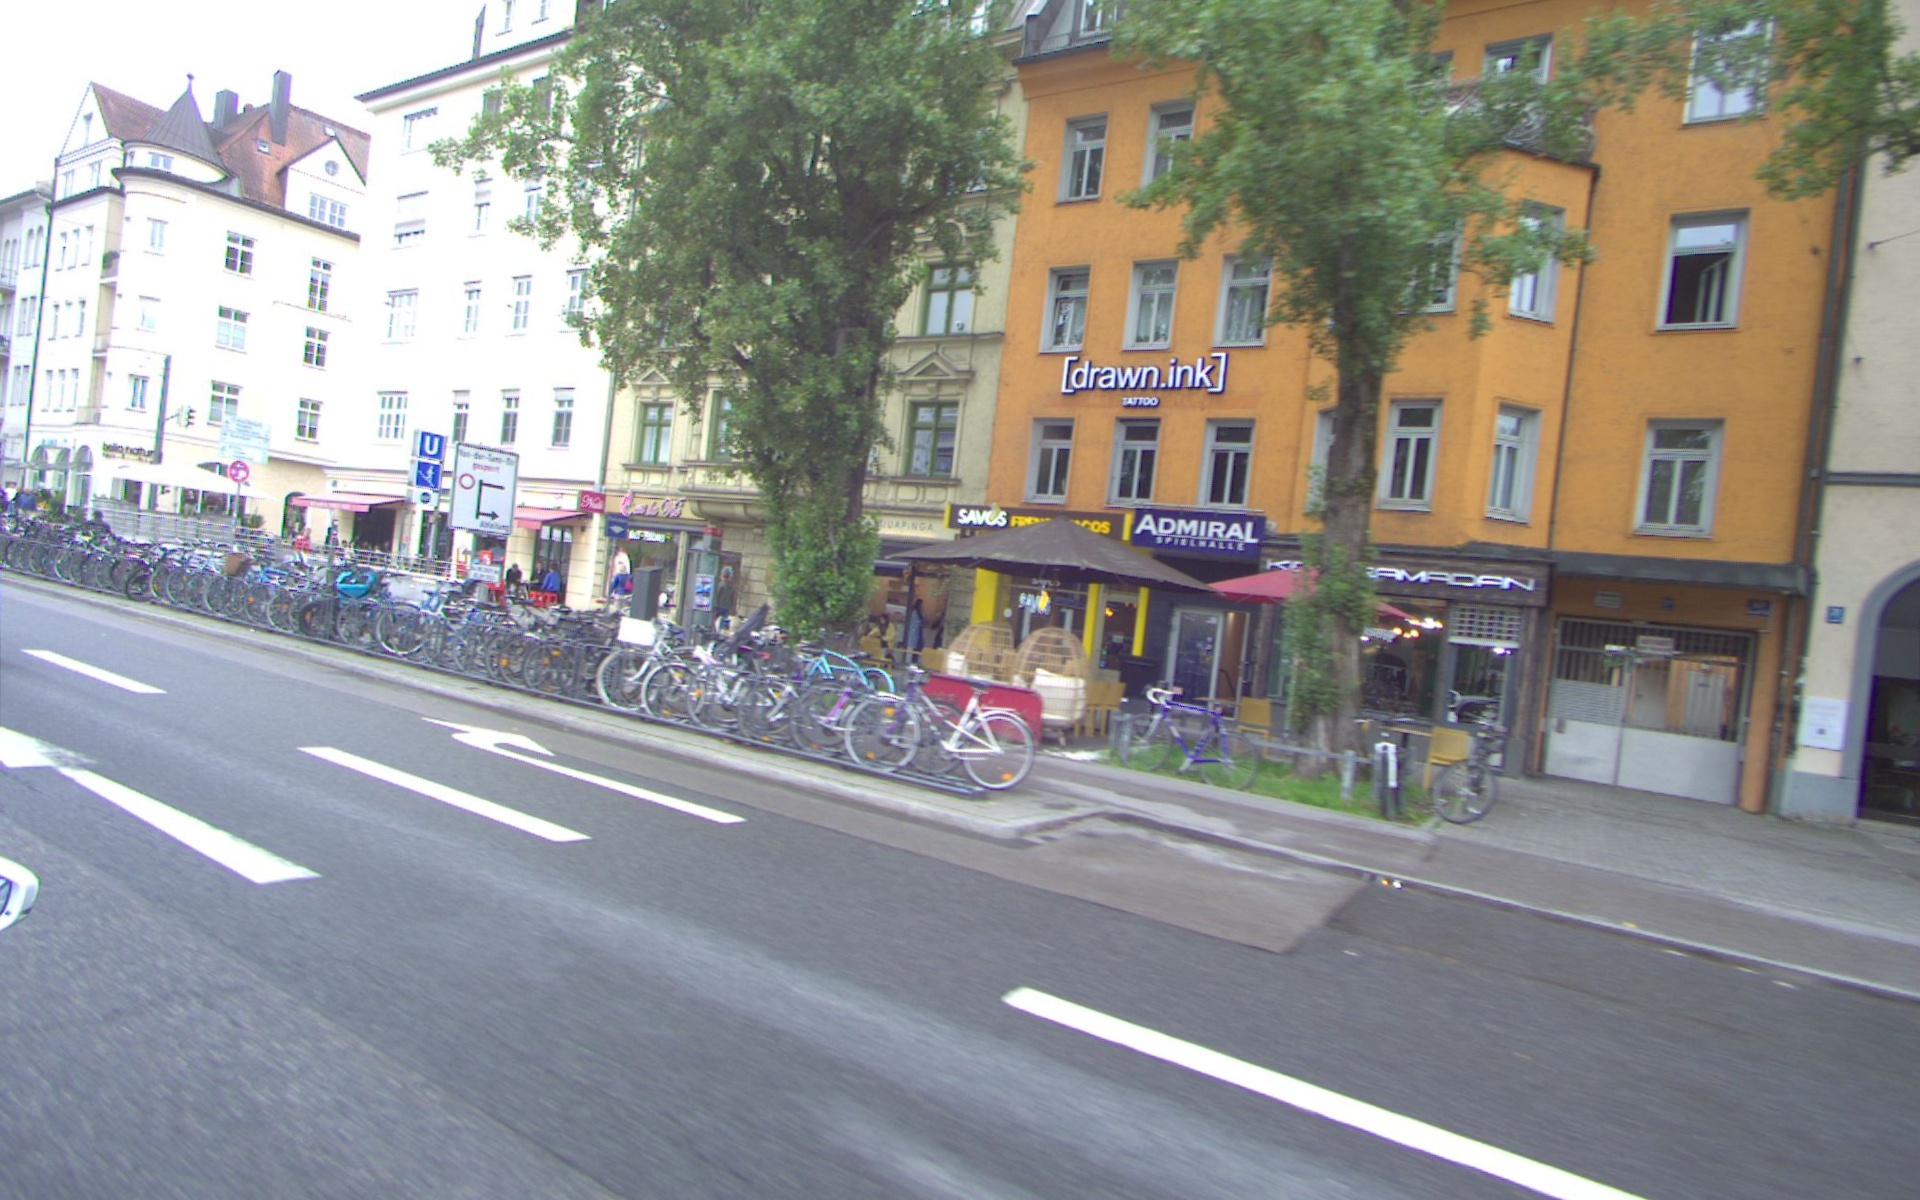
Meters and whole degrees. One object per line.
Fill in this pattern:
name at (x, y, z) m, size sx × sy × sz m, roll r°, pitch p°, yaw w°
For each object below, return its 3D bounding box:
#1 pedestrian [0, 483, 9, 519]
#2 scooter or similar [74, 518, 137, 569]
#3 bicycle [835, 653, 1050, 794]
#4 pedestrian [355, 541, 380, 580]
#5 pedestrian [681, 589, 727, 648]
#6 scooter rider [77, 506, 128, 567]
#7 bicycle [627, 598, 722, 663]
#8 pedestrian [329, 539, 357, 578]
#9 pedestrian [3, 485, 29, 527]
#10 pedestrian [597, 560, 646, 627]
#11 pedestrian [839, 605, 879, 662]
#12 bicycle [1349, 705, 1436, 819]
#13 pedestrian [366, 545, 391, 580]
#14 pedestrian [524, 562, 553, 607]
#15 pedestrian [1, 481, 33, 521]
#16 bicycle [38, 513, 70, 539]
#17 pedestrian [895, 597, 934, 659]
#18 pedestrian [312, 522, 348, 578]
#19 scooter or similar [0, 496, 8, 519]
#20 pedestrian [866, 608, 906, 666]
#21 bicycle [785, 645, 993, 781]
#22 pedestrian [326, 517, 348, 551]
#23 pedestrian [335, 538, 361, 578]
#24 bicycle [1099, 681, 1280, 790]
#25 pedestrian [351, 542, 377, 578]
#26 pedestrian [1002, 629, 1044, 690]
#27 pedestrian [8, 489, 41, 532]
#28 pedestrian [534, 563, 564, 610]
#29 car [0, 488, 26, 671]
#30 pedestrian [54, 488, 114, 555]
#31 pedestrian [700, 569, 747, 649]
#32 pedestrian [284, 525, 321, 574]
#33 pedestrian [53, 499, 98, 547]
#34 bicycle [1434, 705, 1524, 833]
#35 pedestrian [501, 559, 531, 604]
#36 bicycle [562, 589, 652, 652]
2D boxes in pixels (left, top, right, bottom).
pedestrian at (-44.689, -4.629, 46.792) m, size 0.559 × 1.631 × 0.560 m, roll 6°, pitch 4°, yaw -45°
scooter or similar at (-21.287, -1.412, 25.061) m, size 1.235 × 1.088 × 0.776 m, roll 7°, pitch 1°, yaw 30°
bicycle at (-0.166, 1.123, 9.165) m, size 1.811 × 1.008 × 0.375 m, roll 8°, pitch 1°, yaw -8°
pedestrian at (-21.452, -1.418, 36.414) m, size 0.518 × 1.315 × 0.479 m, roll 7°, pitch 1°, yaw 30°
pedestrian at (-5.792, 0.414, 22.747) m, size 0.655 × 1.237 × 0.601 m, roll 7°, pitch 1°, yaw 32°
scooter rider at (-21.363, -1.585, 25.065) m, size 0.632 × 1.406 × 0.701 m, roll 7°, pitch 1°, yaw 30°
bicycle at (-5.473, 0.600, 19.370) m, size 0.382 × 1.058 × 1.720 m, roll 9°, pitch 0°, yaw 42°
pedestrian at (-22.576, -1.515, 36.822) m, size 0.691 × 1.308 × 0.515 m, roll 7°, pitch 1°, yaw 30°
pedestrian at (-43.589, -4.341, 46.455) m, size 0.645 × 1.774 × 0.630 m, roll 7°, pitch 4°, yaw -35°
pedestrian at (-8.838, -0.164, 26.271) m, size 0.773 × 1.653 × 0.711 m, roll 7°, pitch 1°, yaw 32°
pedestrian at (-2.427, 0.804, 24.207) m, size 0.573 × 1.296 × 0.584 m, roll 7°, pitch 1°, yaw 31°
bicycle at (4.772, 1.721, 11.035) m, size 0.451 × 1.067 × 1.889 m, roll 7°, pitch 0°, yaw 33°
pedestrian at (-20.685, -1.335, 35.765) m, size 0.518 × 1.180 × 0.479 m, roll 7°, pitch 1°, yaw 30°
pedestrian at (-13.113, -0.477, 31.307) m, size 0.543 × 1.305 × 0.495 m, roll 7°, pitch 1°, yaw 32°
pedestrian at (-44.129, -4.627, 47.097) m, size 0.720 × 1.728 × 0.645 m, roll 9°, pitch 3°, yaw 3°
bicycle at (-45.982, -3.751, 51.038) m, size 1.833 × 1.103 × 0.495 m, roll 7°, pitch 1°, yaw 26°
pedestrian at (-1.162, 0.722, 25.564) m, size 0.574 × 1.493 × 0.625 m, roll 7°, pitch 1°, yaw 34°
pedestrian at (-19.925, -1.571, 31.827) m, size 0.666 × 1.653 × 0.615 m, roll 7°, pitch 1°, yaw 32°
scooter or similar at (-44.180, -4.267, 45.998) m, size 0.815 × 1.007 × 0.587 m, roll 7°, pitch 3°, yaw -36°
pedestrian at (-1.743, 0.884, 23.753) m, size 0.573 × 1.296 × 0.584 m, roll 7°, pitch 1°, yaw 31°
bicycle at (-0.672, 1.066, 9.541) m, size 1.811 × 1.008 × 0.375 m, roll 8°, pitch 1°, yaw -8°
pedestrian at (-34.169, -3.604, 55.202) m, size 0.736 × 1.728 × 0.679 m, roll 11°, pitch 4°, yaw 41°
pedestrian at (-21.764, -1.489, 35.775) m, size 0.518 × 1.315 × 0.479 m, roll 7°, pitch 1°, yaw 30°
bicycle at (2.574, 1.498, 11.376) m, size 1.862 × 0.903 × 0.457 m, roll 7°, pitch 0°, yaw 31°
pedestrian at (-20.900, -1.385, 35.277) m, size 0.518 × 1.180 × 0.479 m, roll 7°, pitch 1°, yaw 30°
pedestrian at (1.376, 1.299, 21.957) m, size 0.573 × 1.233 × 0.623 m, roll 7°, pitch 1°, yaw 31°
pedestrian at (-41.924, -4.005, 45.070) m, size 1.051 × 1.777 × 0.931 m, roll 7°, pitch 1°, yaw 45°
pedestrian at (-12.521, -0.418, 30.647) m, size 0.543 × 1.349 × 0.495 m, roll 7°, pitch 1°, yaw 32°
car at (-10.337, -0.426, 9.175) m, size 3.498 × 1.608 × 1.706 m, roll 7°, pitch -2°, yaw 32°
pedestrian at (-25.418, -2.266, 29.210) m, size 0.842 × 1.765 × 0.884 m, roll 7°, pitch 1°, yaw 16°
pedestrian at (-5.478, 0.201, 23.317) m, size 0.655 × 1.761 × 0.601 m, roll 7°, pitch 1°, yaw 32°
pedestrian at (-20.748, -1.585, 31.744) m, size 0.606 × 1.440 × 0.676 m, roll 7°, pitch 1°, yaw 32°
pedestrian at (-31.294, -2.713, 35.599) m, size 0.874 × 1.560 × 0.732 m, roll 7°, pitch 1°, yaw 17°
bicycle at (5.720, 1.795, 11.028) m, size 0.573 × 1.188 × 1.889 m, roll 7°, pitch 0°, yaw 33°
pedestrian at (-13.490, -0.561, 30.544) m, size 0.543 × 1.305 × 0.495 m, roll 7°, pitch 1°, yaw 32°
bicycle at (-6.656, 0.418, 19.037) m, size 0.380 × 1.058 × 1.727 m, roll 8°, pitch 0°, yaw 26°
